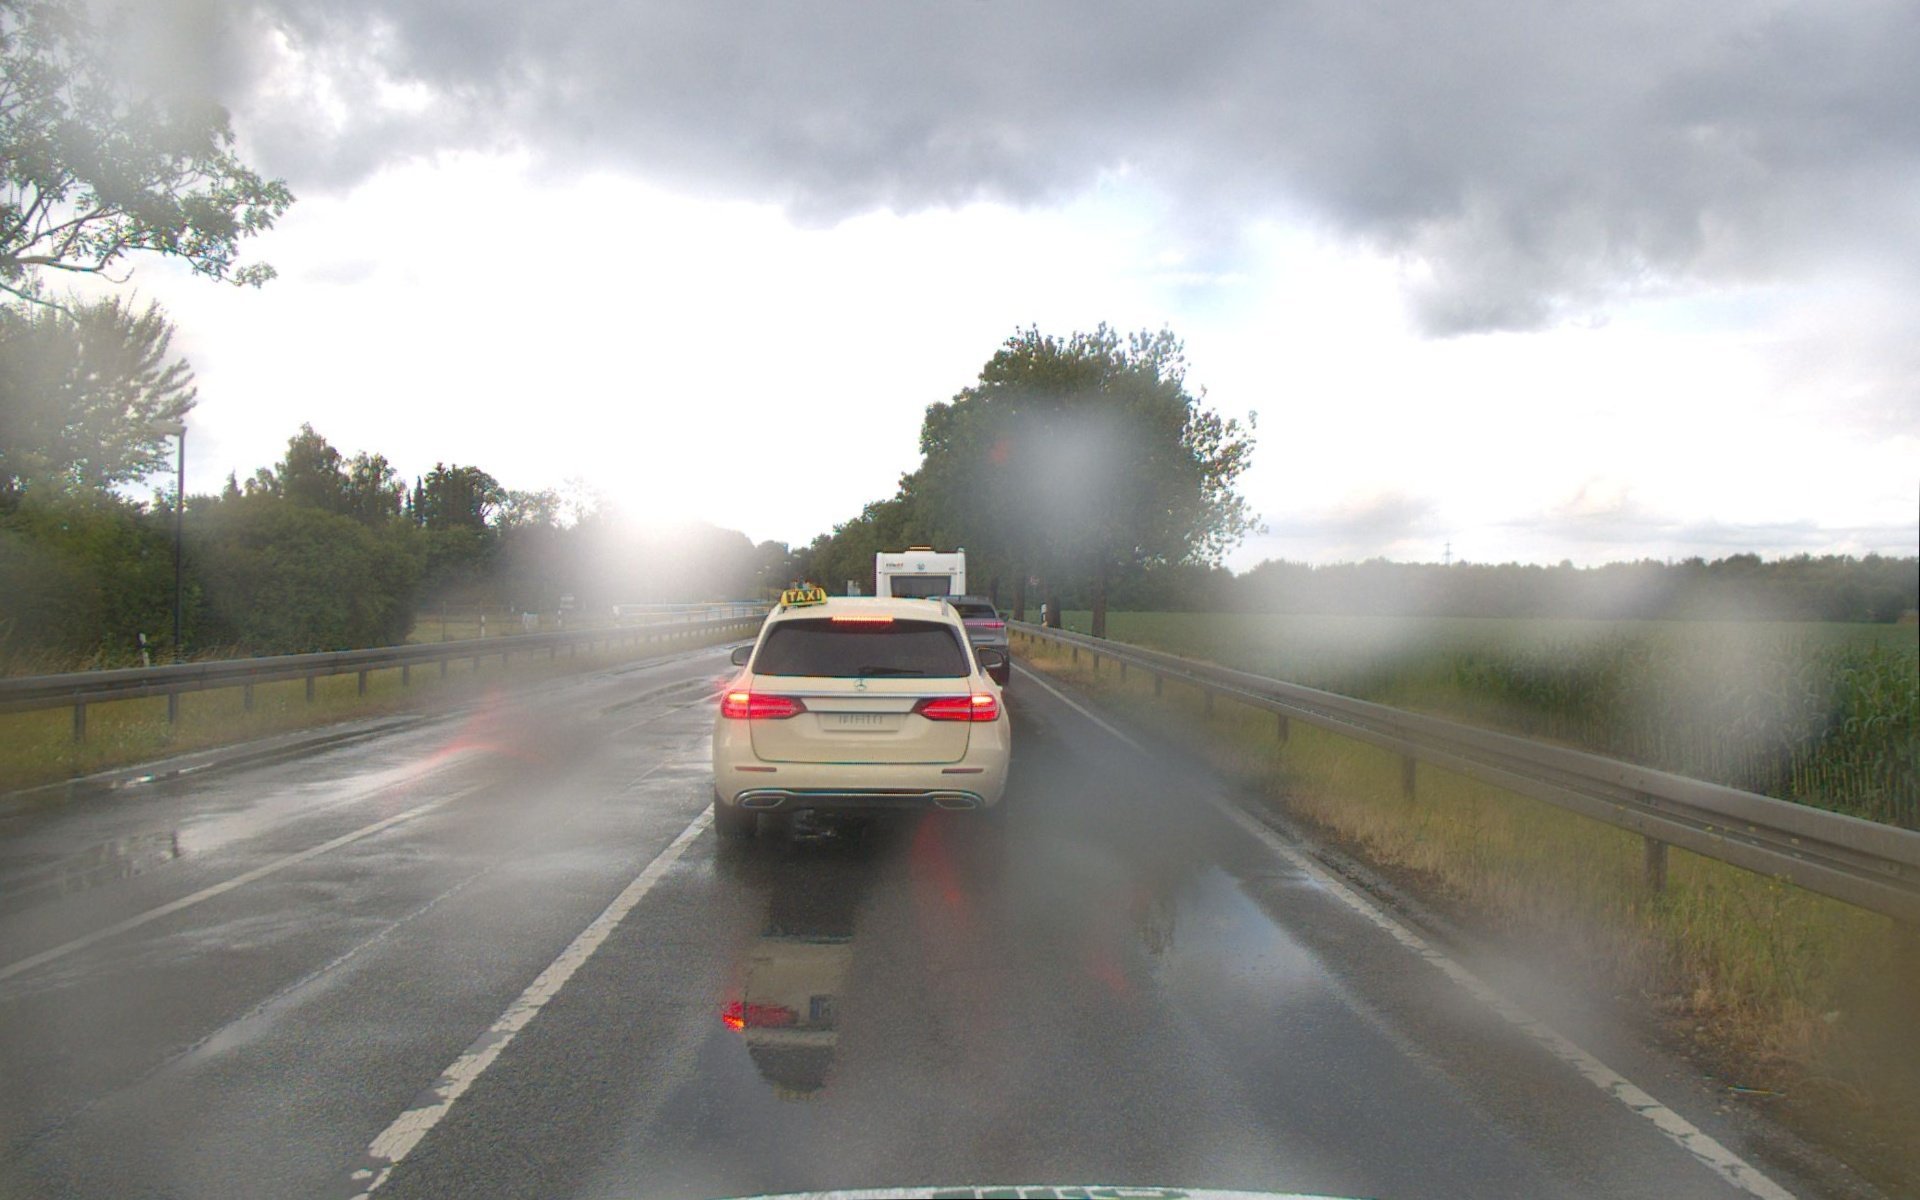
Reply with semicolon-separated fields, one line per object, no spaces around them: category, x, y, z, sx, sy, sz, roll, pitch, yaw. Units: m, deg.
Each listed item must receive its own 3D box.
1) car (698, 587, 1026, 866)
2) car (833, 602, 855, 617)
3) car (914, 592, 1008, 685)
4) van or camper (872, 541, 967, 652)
car;-0.526;0.695;11.168;1.787;1.511;4.145;1;0;0
car;-10.225;0.793;146.415;1.723;1.291;3.999;0;0;-1
car;-0.010;0.646;30.062;1.594;1.556;3.932;0;0;-1
van or camper;-1.029;-0.109;43.628;2.303;2.727;5.767;1;0;-1
